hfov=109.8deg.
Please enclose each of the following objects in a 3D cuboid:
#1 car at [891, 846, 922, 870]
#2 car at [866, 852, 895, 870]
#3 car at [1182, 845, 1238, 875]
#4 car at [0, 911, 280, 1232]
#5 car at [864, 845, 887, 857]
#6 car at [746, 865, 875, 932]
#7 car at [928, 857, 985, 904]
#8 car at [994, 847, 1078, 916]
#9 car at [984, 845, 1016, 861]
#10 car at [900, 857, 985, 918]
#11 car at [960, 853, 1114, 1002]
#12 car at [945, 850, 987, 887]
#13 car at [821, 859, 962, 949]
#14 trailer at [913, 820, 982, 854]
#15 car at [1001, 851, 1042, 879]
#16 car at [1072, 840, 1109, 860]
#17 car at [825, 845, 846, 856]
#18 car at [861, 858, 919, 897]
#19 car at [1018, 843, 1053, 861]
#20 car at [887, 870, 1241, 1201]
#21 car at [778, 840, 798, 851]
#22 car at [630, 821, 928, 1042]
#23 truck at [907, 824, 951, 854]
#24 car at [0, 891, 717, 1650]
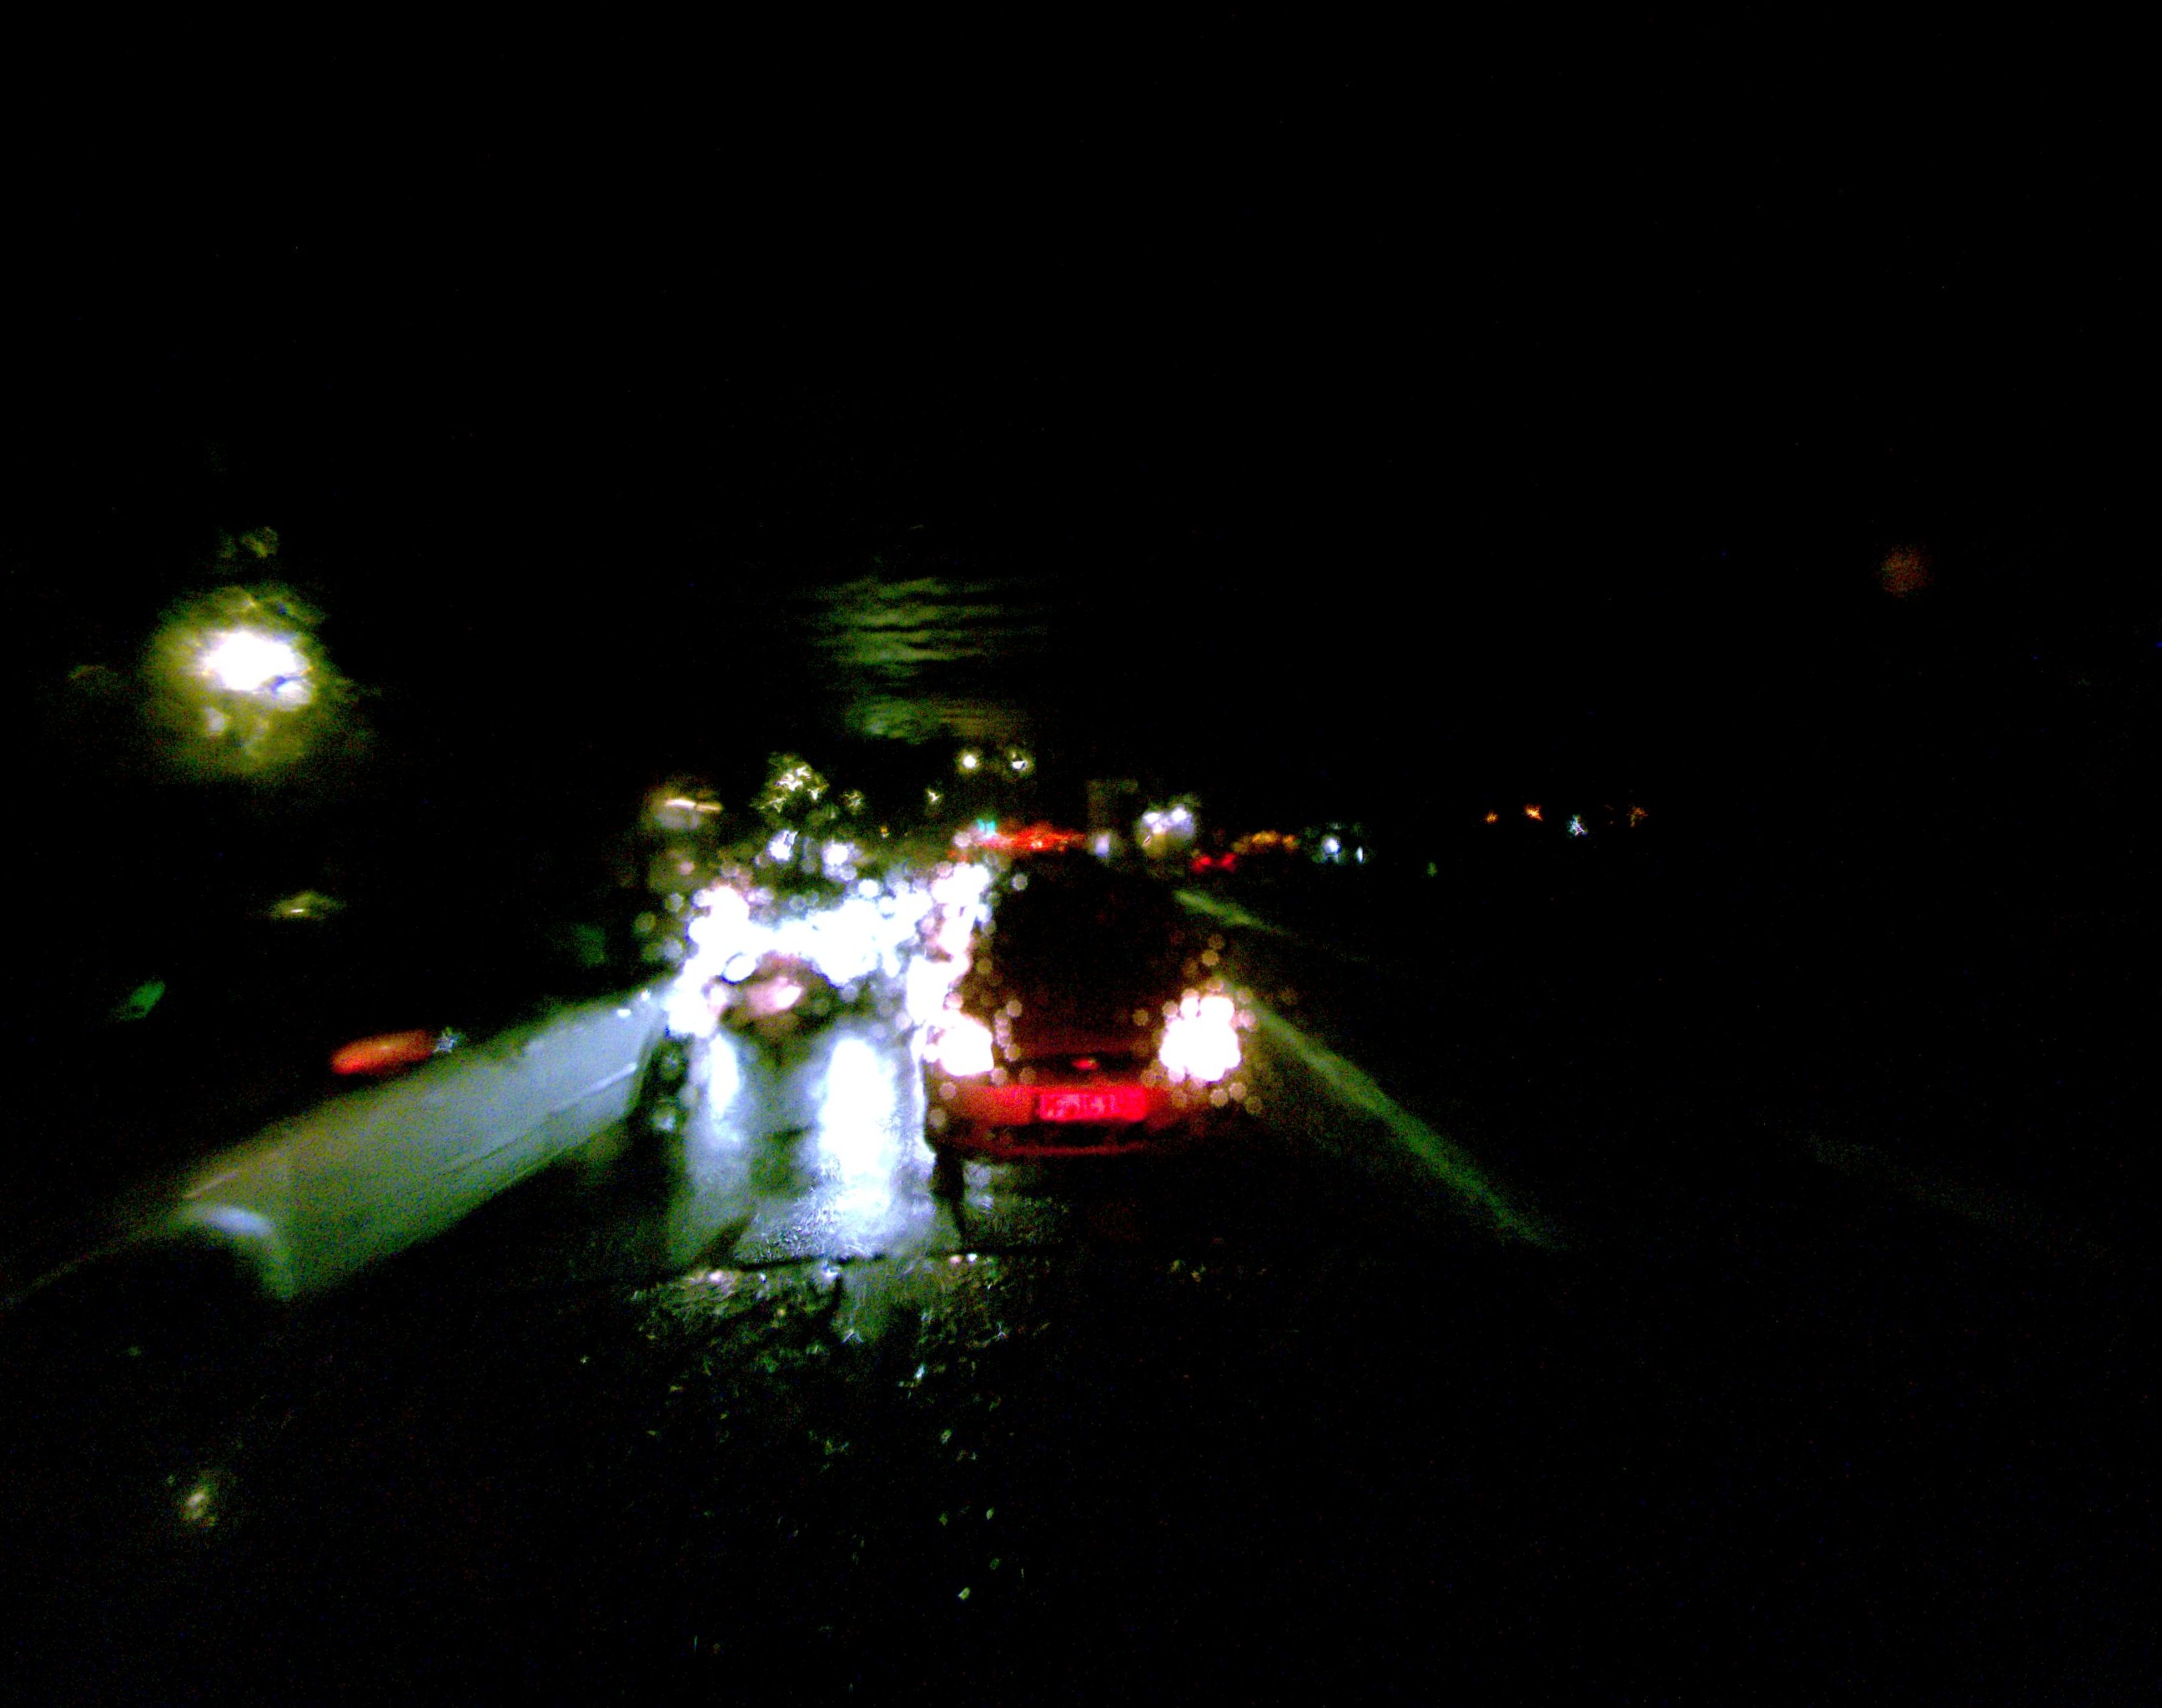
[{"bbox_3d":[-11.501,0.233,50.013,1.855,1.423,4.495,-2,2,-13],"label":"car"},{"bbox_3d":[-17.143,0.574,64.827,1.884,1.463,3.993,-3,1,-21],"label":"car"},{"bbox_3d":[7.207,0.325,42.854,1.912,1.578,4.078,1,-1,-9],"label":"car"},{"bbox_3d":[-6.188,1.116,2.693,1.853,1.476,4.629,-1,0,-2],"label":"car"},{"bbox_3d":[-26.358,-0.346,97.231,1.885,1.463,3.991,-3,1,-29],"label":"car"},{"bbox_3d":[-6.884,1.072,19.915,1.853,1.447,4.501,-1,0,-2],"label":"car"},{"bbox_3d":[-4.389,0.891,27.209,1.683,1.463,3.998,-2,1,-5],"label":"car"},{"bbox_3d":[-1.117,0.632,19.712,1.881,1.534,3.999,-2,1,-2],"label":"car"},{"bbox_3d":[-9.546,-0.114,88.834,1.974,1.731,4.907,-3,1,-28],"label":"car"},{"bbox_3d":[-3.927,0.896,22.182,1.629,1.494,3.999,-2,1,1],"label":"car"},{"bbox_3d":[-0.472,0.838,10.627,1.683,1.591,3.996,-2,1,1],"label":"car"},{"bbox_3d":[-5.394,0.645,36.055,1.743,1.581,3.997,-2,1,-6],"label":"car"},{"bbox_3d":[-3.747,0.930,15.749,1.869,1.503,3.766,-2,1,1],"label":"car"},{"bbox_3d":[-18.811,-2.266,106.024,3.976,4.152,13.885,-3,1,-34],"label":"trailer"},{"bbox_3d":[-3.515,0.635,44.244,1.854,1.476,4.481,-1,0,-11],"label":"car"},{"bbox_3d":[0.833,-0.315,70.703,1.861,1.739,4.498,-3,1,-22],"label":"car"},{"bbox_3d":[-37.146,-0.562,115.036,1.885,1.463,3.990,-3,1,-35],"label":"car"},{"bbox_3d":[-8.423,0.980,33.898,1.854,1.423,4.498,-2,2,-6],"label":"car"},{"bbox_3d":[-4.667,-0.162,77.729,1.912,1.731,4.388,-3,1,-27],"label":"car"},{"bbox_3d":[-0.052,0.896,5.517,1.603,1.360,3.942,-2,1,1],"label":"car"},{"bbox_3d":[-51.476,-1.532,133.394,1.974,1.731,4.906,-3,1,-36],"label":"car"},{"bbox_3d":[-3.375,0.736,9.587,1.999,2.076,4.347,-2,1,-1],"label":"car"},{"bbox_3d":[-22.370,-2.187,111.346,3.976,4.152,6.360,-3,1,-34],"label":"truck"},{"bbox_3d":[-3.191,0.995,2.688,1.792,1.359,3.999,-2,2,0],"label":"car"}]
